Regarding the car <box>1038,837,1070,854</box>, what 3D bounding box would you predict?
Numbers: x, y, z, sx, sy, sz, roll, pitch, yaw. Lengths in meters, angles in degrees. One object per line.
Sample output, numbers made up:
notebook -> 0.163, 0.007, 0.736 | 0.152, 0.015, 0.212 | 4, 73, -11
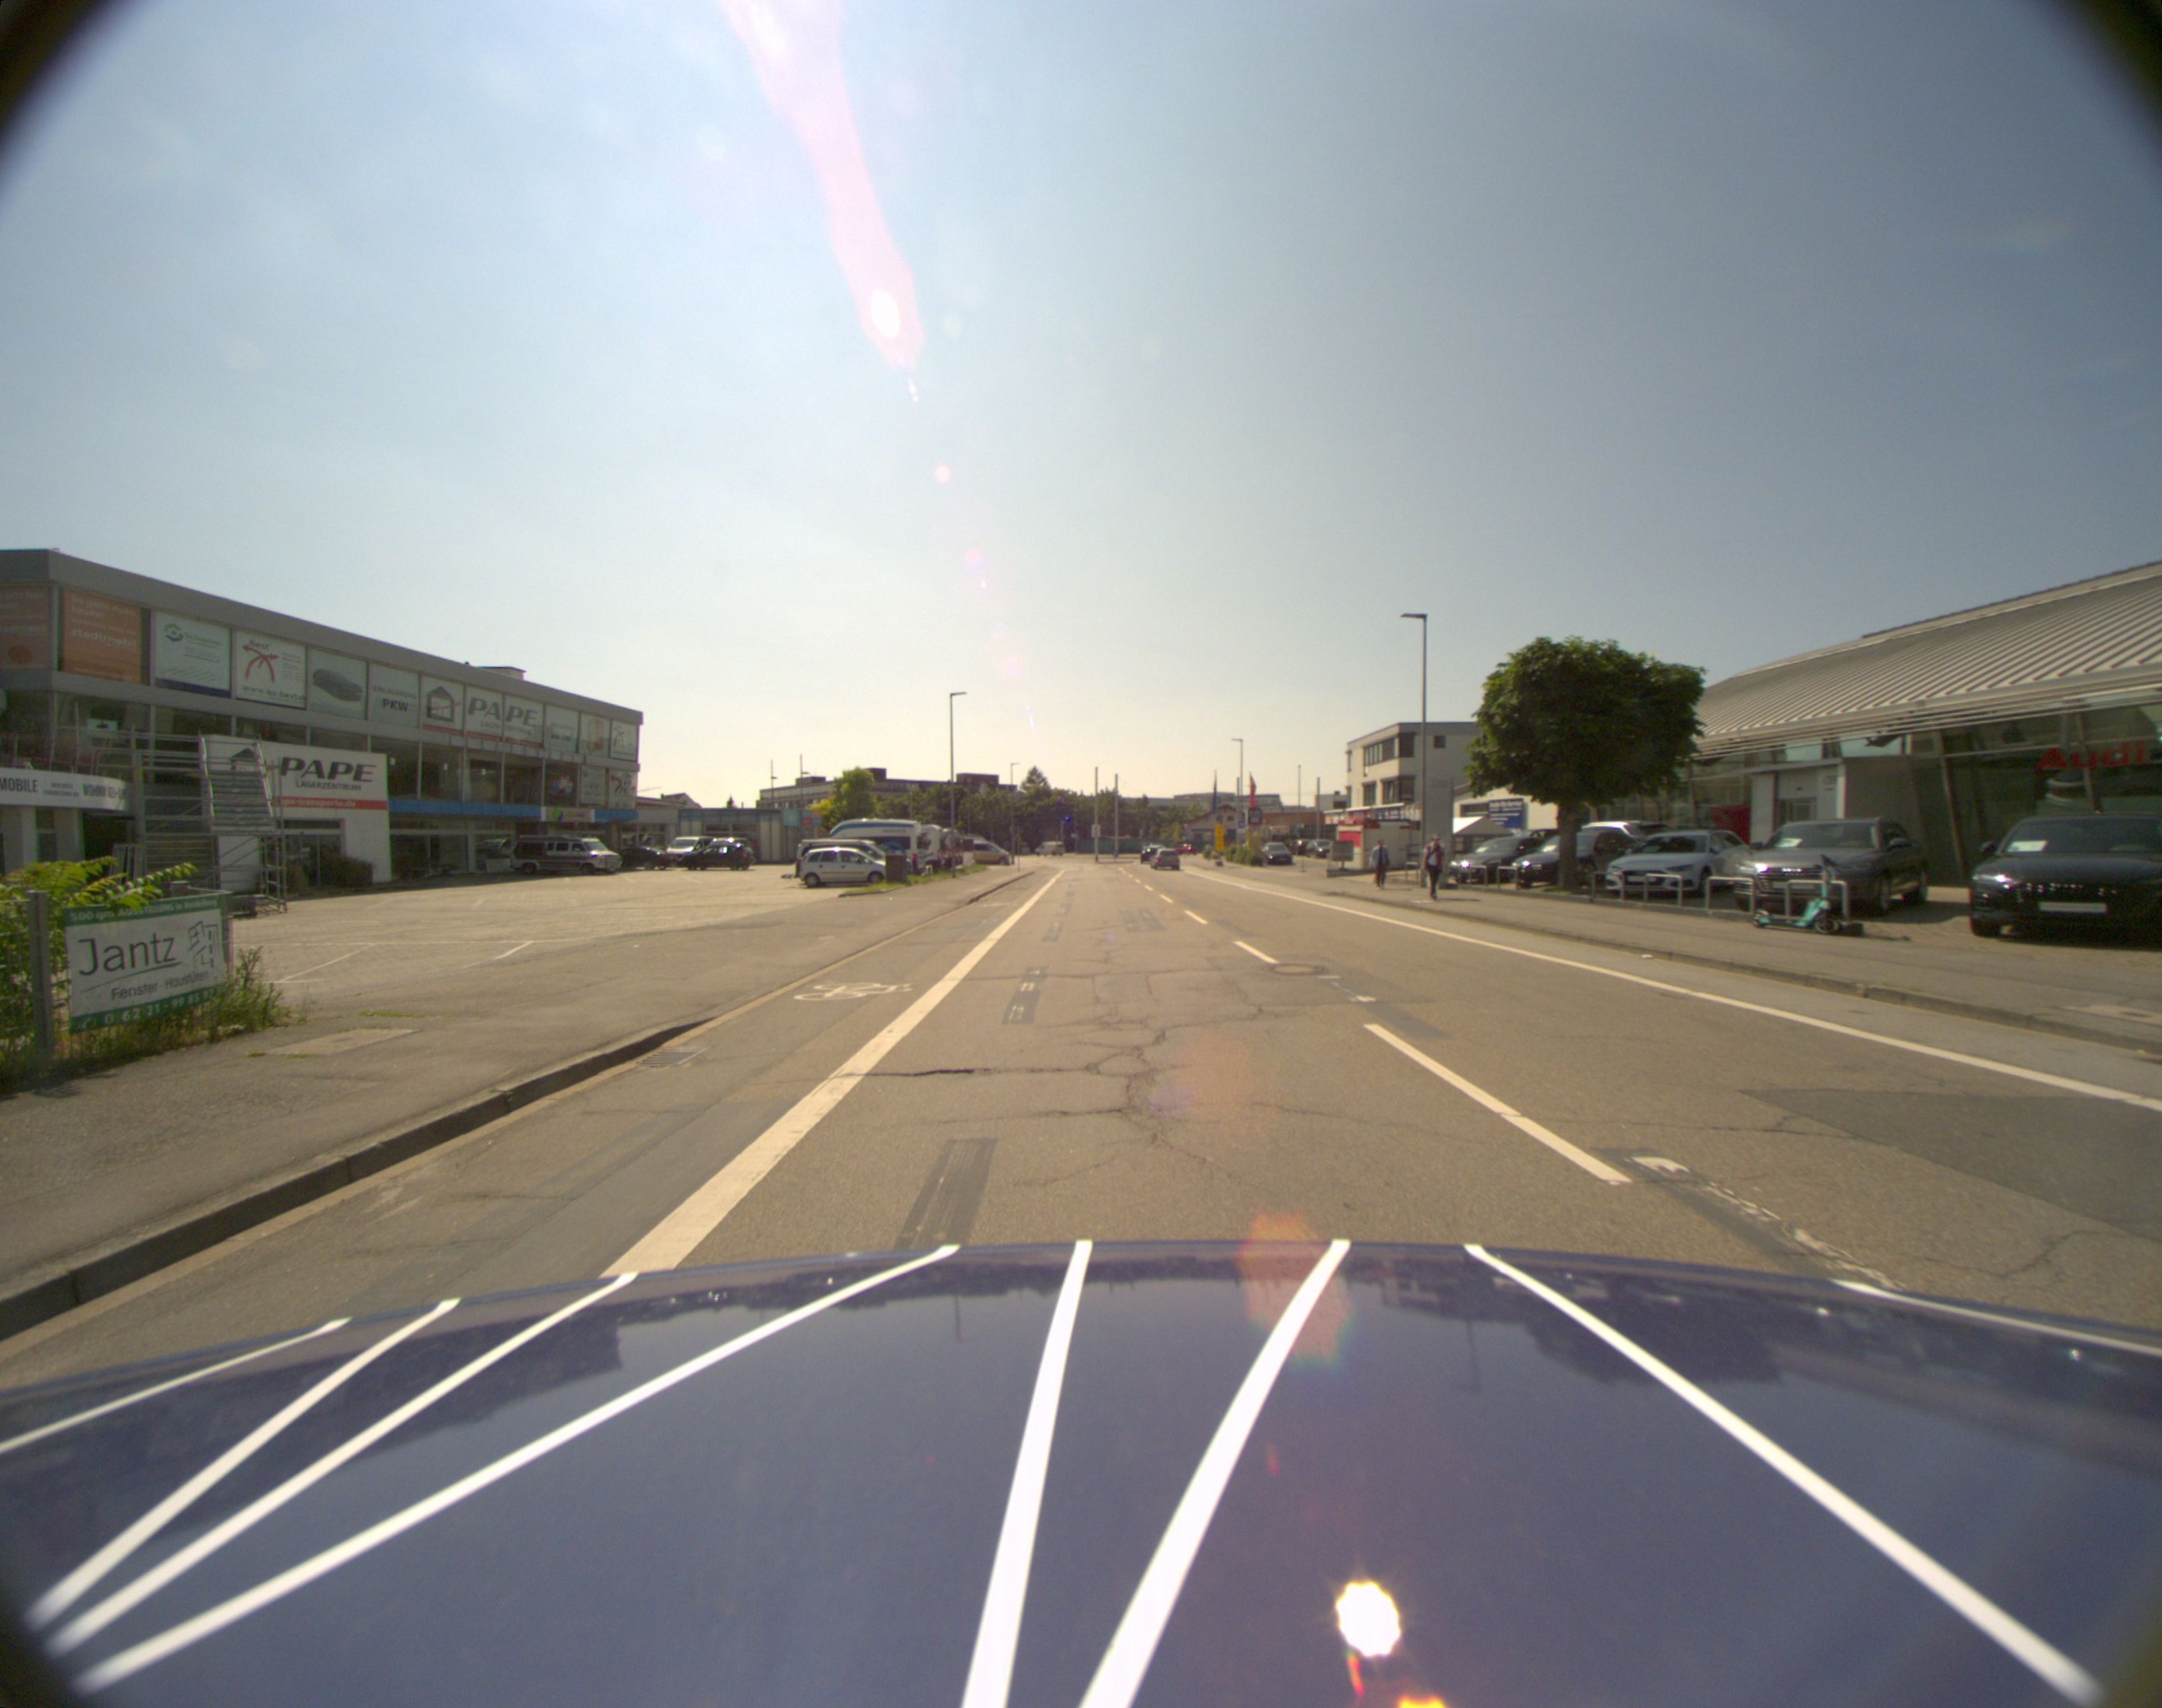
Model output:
car -> -4.147, -1.306, 115.138 | 4.421, 1.938, 2.000 | 8, 9, 34

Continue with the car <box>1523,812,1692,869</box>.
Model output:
car -> 18.479, -0.479, 26.981 | 2.001, 1.710, 4.725 | -5, 2, -15

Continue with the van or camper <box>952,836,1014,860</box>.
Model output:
van or camper -> -9.100, -0.584, 70.686 | 5.148, 2.064, 2.446 | -1, 1, -32

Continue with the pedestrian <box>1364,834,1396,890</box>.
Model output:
pedestrian -> 10.102, 0.258, 25.670 | 0.725, 1.838, 0.911 | 0, 1, 0

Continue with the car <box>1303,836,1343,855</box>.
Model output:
car -> 18.785, -0.689, 59.189 | 1.911, 1.413, 4.419 | 0, 1, 4

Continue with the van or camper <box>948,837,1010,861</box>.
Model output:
van or camper -> -9.023, -0.433, 67.344 | 4.990, 2.034, 2.037 | 0, 2, -30

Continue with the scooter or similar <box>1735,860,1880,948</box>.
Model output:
scooter or similar -> 11.259, 0.737, 11.840 | 0.746, 1.240, 1.489 | -1, 1, -7

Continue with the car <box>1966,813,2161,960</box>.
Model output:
car -> 14.494, 0.325, 10.891 | 4.488, 1.698, 1.906 | -3, 2, -35

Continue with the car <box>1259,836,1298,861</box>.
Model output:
car -> 14.092, -0.407, 54.414 | 1.909, 1.705, 4.000 | 0, 1, 3

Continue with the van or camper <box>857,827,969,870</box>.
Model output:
van or camper -> -10.118, -0.353, 46.190 | 6.211, 2.510, 2.618 | 0, 1, 1

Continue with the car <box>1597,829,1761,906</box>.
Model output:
car -> 14.121, 0.241, 17.880 | 4.210, 1.487, 1.869 | -3, 3, -35

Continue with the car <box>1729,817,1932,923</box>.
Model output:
car -> 13.993, 0.193, 14.111 | 4.588, 1.687, 1.854 | -2, 1, -35

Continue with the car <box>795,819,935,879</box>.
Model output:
car -> -10.580, -0.243, 37.618 | 6.243, 2.853, 2.320 | 0, 1, 1

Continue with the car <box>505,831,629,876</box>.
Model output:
car -> -28.690, -0.058, 42.528 | 5.310, 2.405, 2.325 | 0, 1, 0

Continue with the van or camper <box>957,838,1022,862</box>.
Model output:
van or camper -> -7.826, -0.314, 64.927 | 5.145, 1.950, 1.981 | 0, 2, -30

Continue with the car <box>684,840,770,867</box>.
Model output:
car -> -22.556, -0.031, 48.549 | 4.550, 1.668, 1.999 | 0, 1, -3

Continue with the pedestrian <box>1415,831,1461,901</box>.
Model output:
pedestrian -> 9.705, 0.319, 20.686 | 0.734, 1.857, 1.047 | 0, 1, 0

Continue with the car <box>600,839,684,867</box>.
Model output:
car -> -27.846, -0.078, 48.301 | 4.117, 1.723, 1.999 | 0, 1, -3

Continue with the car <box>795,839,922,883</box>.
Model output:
car -> -10.199, 0.306, 35.099 | 5.247, 1.941, 2.000 | 0, 1, 0

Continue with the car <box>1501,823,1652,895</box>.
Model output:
car -> 14.337, 0.122, 21.918 | 4.489, 1.599, 1.961 | -5, -1, -35

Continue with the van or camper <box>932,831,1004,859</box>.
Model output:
van or camper -> -10.861, -0.863, 73.043 | 6.375, 2.621, 2.526 | -1, 1, -35

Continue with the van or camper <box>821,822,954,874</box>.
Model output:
van or camper -> -10.255, -0.331, 40.730 | 6.365, 2.685, 2.712 | 0, 1, 1

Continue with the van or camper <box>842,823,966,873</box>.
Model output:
van or camper -> -10.024, -0.364, 43.474 | 6.365, 2.701, 2.712 | 0, 1, 1

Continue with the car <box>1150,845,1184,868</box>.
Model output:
car -> 5.759, 0.126, 51.524 | 1.746, 1.396, 4.323 | 3, 1, 0

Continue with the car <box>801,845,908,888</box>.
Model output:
car -> -9.531, 0.501, 32.170 | 3.931, 1.584, 1.798 | -2, 1, 0

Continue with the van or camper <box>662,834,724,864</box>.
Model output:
van or camper -> -27.369, -0.384, 53.808 | 2.123, 2.002, 5.112 | 0, 1, -5

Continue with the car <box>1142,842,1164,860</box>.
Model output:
car -> 6.105, -0.262, 64.446 | 1.664, 1.446, 4.241 | 1, 1, 3

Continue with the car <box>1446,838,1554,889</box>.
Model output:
car -> 14.058, 0.276, 25.370 | 4.168, 1.451, 1.902 | -3, 2, -42

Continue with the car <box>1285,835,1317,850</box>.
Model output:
car -> 20.525, -1.085, 71.063 | 1.911, 1.380, 4.485 | 0, 1, 4

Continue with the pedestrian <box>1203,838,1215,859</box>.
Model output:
pedestrian -> 10.599, -0.460, 62.994 | 0.996, 1.676, 0.800 | 0, 1, 12

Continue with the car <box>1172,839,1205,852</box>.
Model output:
car -> 14.656, -1.179, 103.622 | 3.988, 1.696, 2.004 | 0, 1, 36
